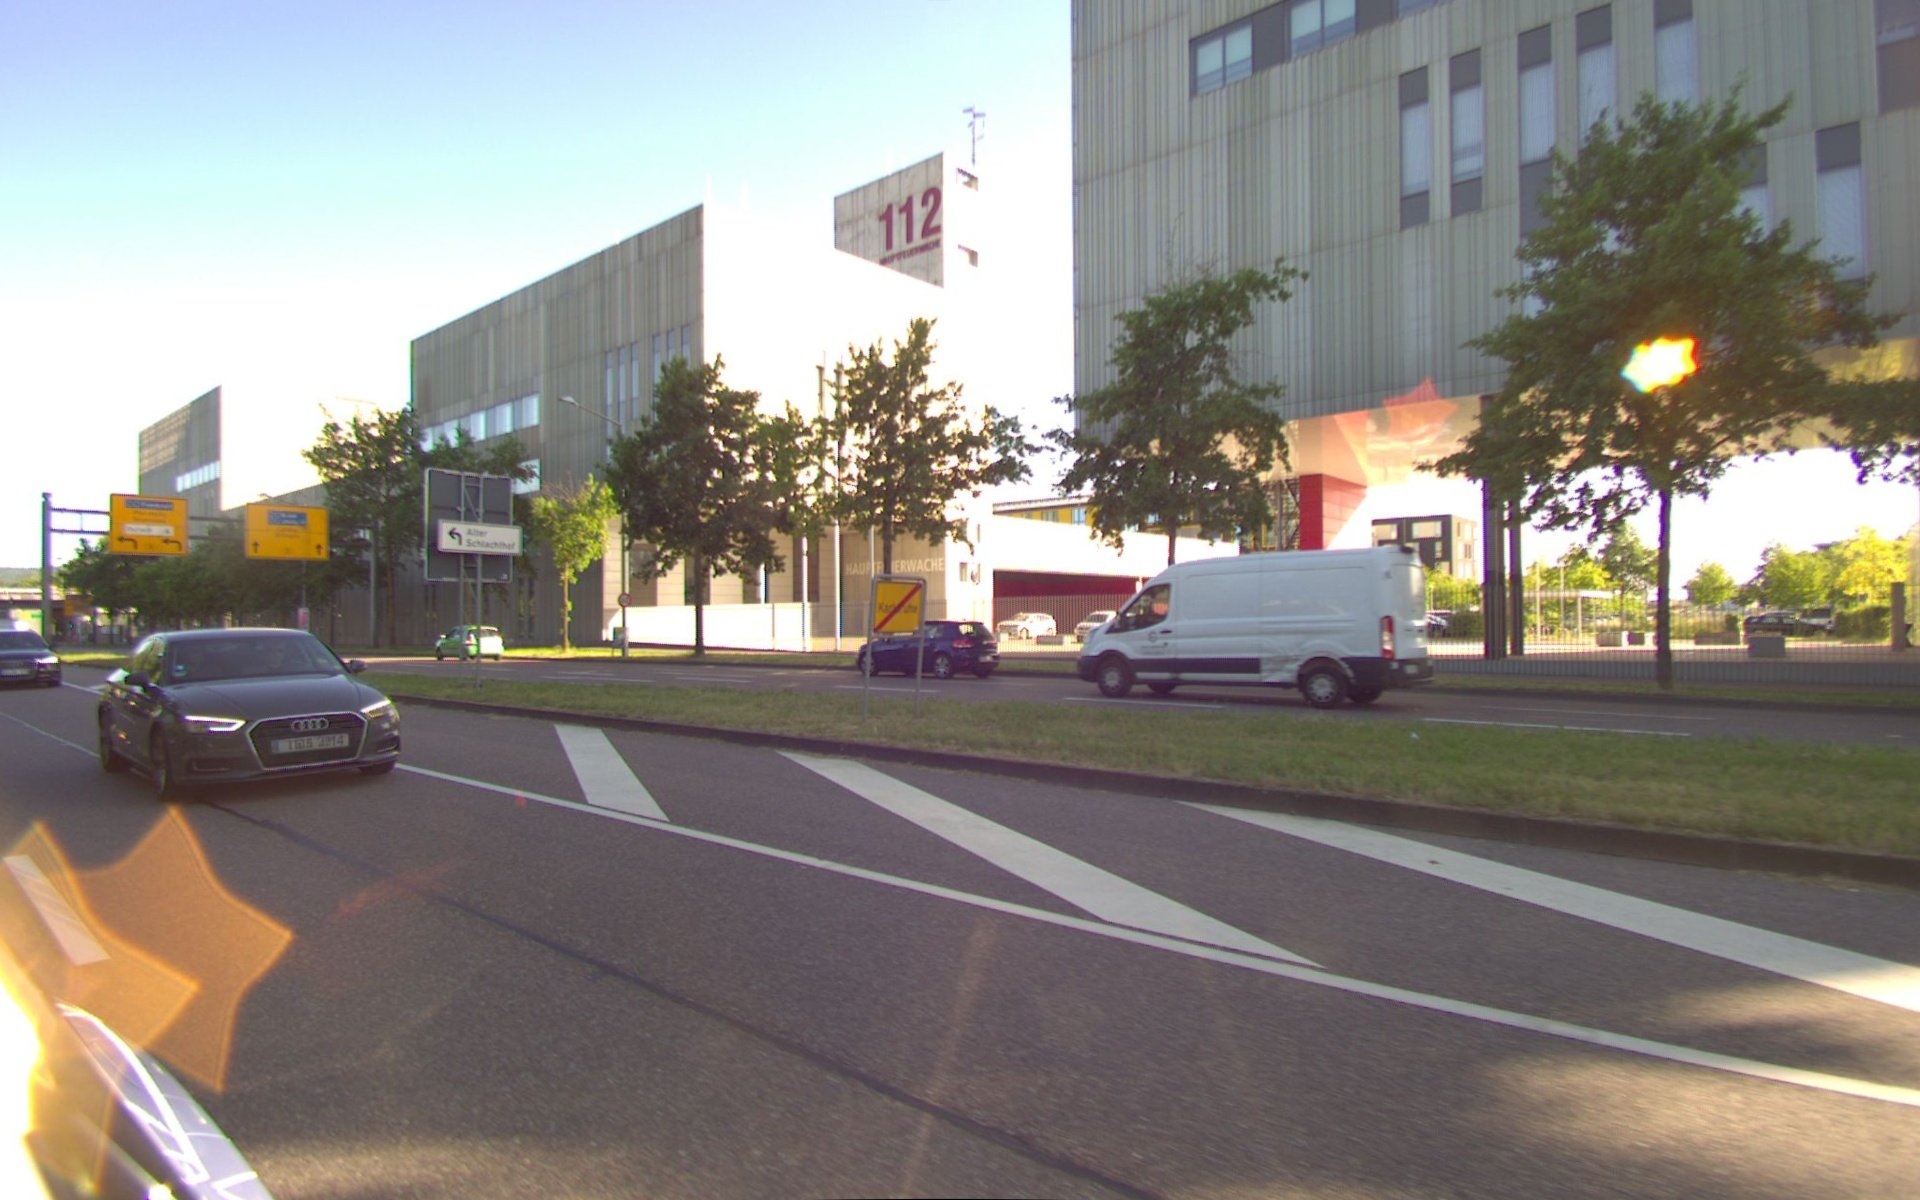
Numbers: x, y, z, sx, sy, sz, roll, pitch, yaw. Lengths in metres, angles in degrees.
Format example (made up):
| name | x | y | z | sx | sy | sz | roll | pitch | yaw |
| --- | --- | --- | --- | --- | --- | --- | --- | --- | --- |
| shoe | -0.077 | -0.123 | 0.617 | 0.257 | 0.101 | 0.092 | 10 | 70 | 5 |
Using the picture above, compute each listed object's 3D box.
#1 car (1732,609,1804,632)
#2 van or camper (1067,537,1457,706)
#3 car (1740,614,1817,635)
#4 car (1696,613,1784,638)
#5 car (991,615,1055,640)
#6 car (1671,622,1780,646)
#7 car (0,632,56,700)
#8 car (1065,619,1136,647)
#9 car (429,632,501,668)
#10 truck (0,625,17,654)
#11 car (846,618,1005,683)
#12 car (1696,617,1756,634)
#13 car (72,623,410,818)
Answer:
| name | x | y | z | sx | sy | sz | roll | pitch | yaw |
| --- | --- | --- | --- | --- | --- | --- | --- | --- | --- |
| car | 50.564 | 1.277 | 63.367 | 3.439 | 1.394 | 1.416 | -2 | -2 | 39 |
| van or camper | 4.843 | 0.407 | 17.030 | 5.989 | 2.387 | 1.973 | -2 | -3 | 41 |
| car | 47.770 | 1.440 | 59.113 | 3.441 | 1.226 | 1.415 | -2 | -2 | 42 |
| car | 39.532 | 1.310 | 51.336 | 3.441 | 1.226 | 1.415 | -2 | -2 | 42 |
| car | 3.968 | 1.675 | 63.056 | 1.762 | 1.464 | 4.210 | -2 | -2 | 42 |
| car | 31.055 | 1.367 | 41.103 | 3.441 | 0.921 | 1.415 | -2 | -2 | 42 |
| car | -23.618 | 1.587 | 24.810 | 3.944 | 1.549 | 1.680 | -2 | -2 | 41 |
| car | 8.237 | 1.891 | 59.066 | 1.935 | 1.514 | 4.340 | -2 | -2 | 42 |
| car | -21.046 | 2.106 | 42.983 | 3.456 | 1.447 | 1.431 | -2 | -2 | 40 |
| truck | -98.732 | 4.040 | 103.418 | 7.111 | 2.983 | 2.657 | -2 | -4 | 42 |
| car | -0.935 | 1.251 | 25.772 | 4.023 | 1.519 | 1.535 | -2 | -2 | 40 |
| car | 55.754 | 1.840 | 73.646 | 3.439 | 1.202 | 1.353 | -2 | -2 | 39 |
| car | -7.049 | 0.977 | 9.730 | 4.363 | 1.414 | 1.680 | -2 | 0 | 41 |
